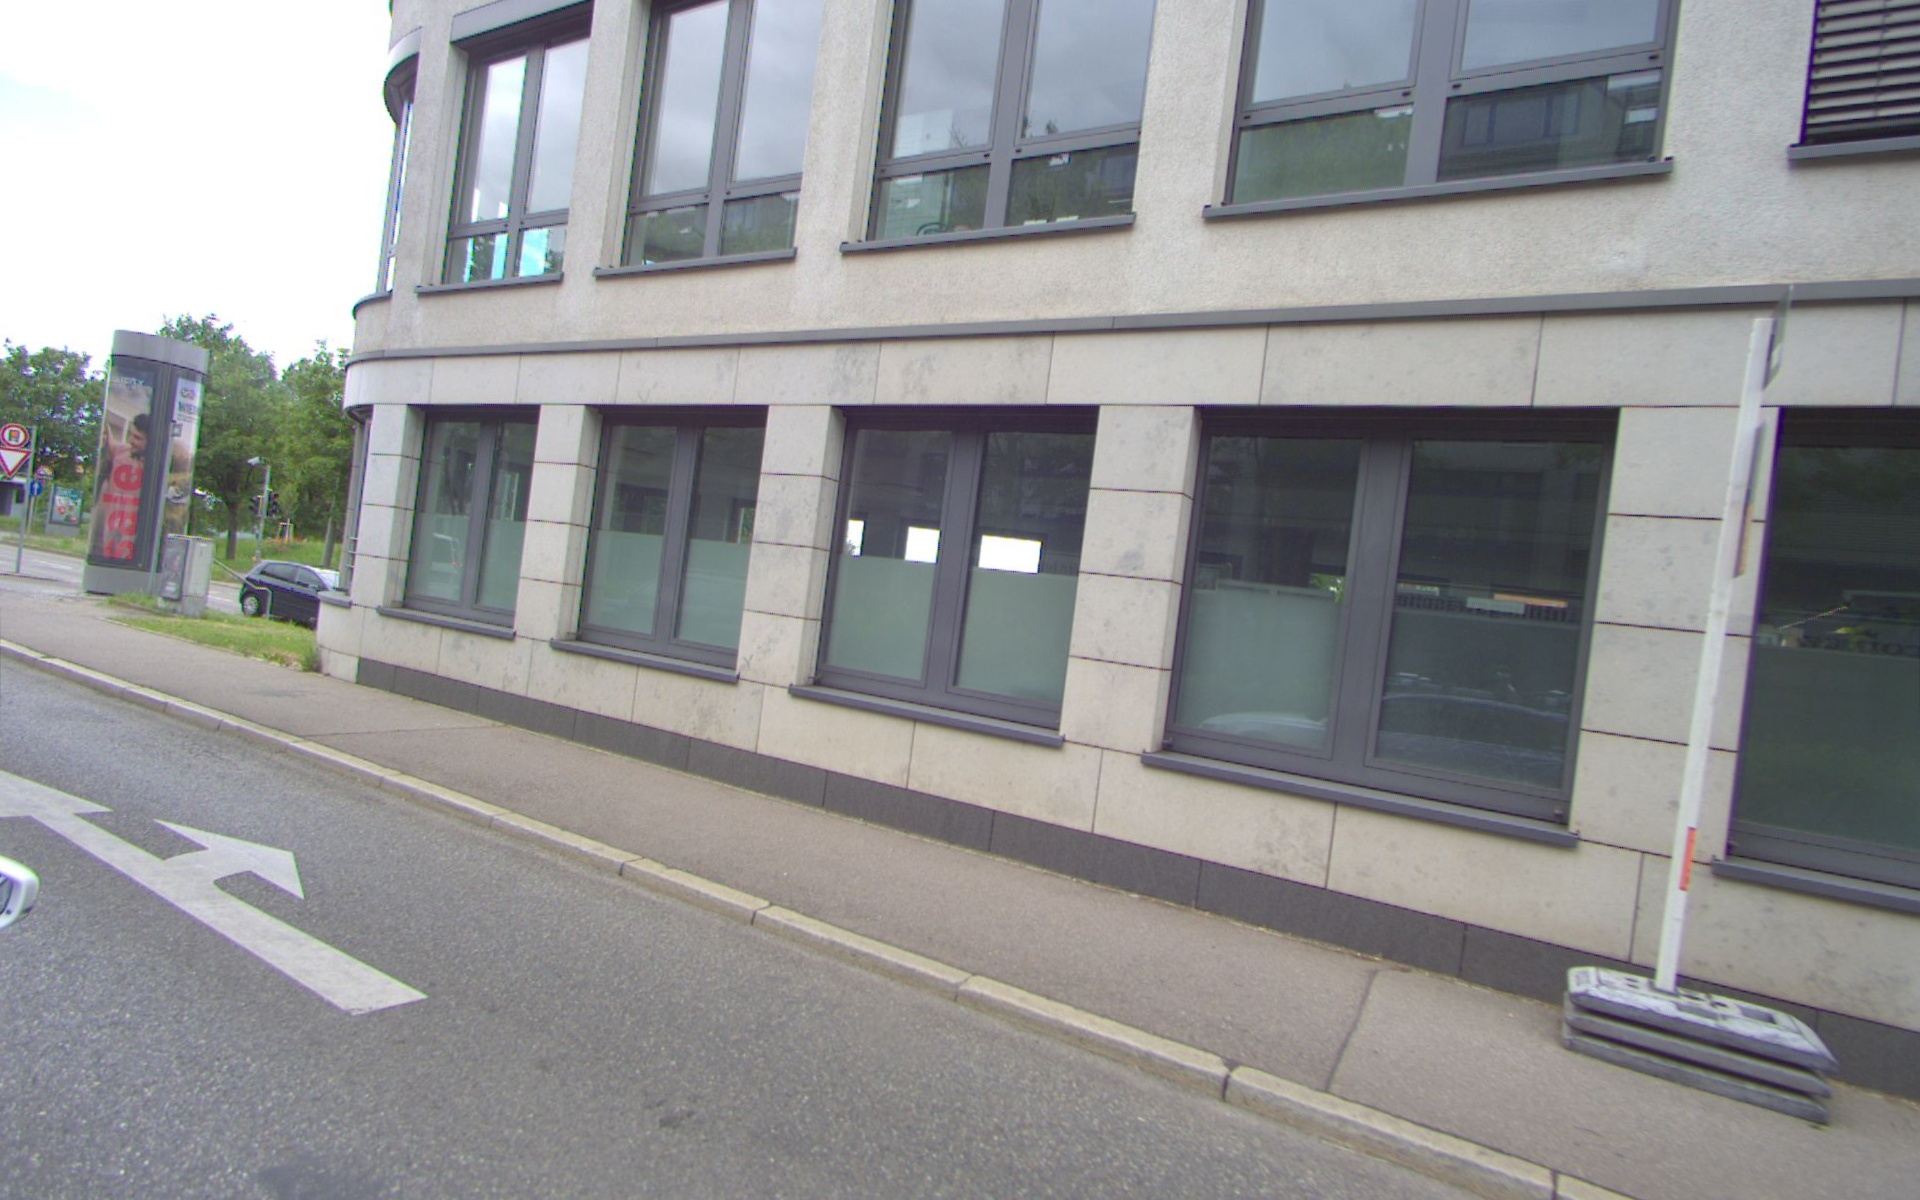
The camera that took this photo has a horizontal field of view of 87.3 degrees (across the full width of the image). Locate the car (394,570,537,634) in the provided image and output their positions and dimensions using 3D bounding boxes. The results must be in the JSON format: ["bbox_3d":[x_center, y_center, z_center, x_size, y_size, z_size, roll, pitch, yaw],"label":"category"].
[{"bbox_3d":[-16.781,0.077,34.167,3.925,1.468,2.003,8,-3,18],"label":"car"}]

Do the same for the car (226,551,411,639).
[{"bbox_3d":[-16.392,-0.110,25.789,3.718,1.703,1.706,7,-2,12],"label":"car"}]
